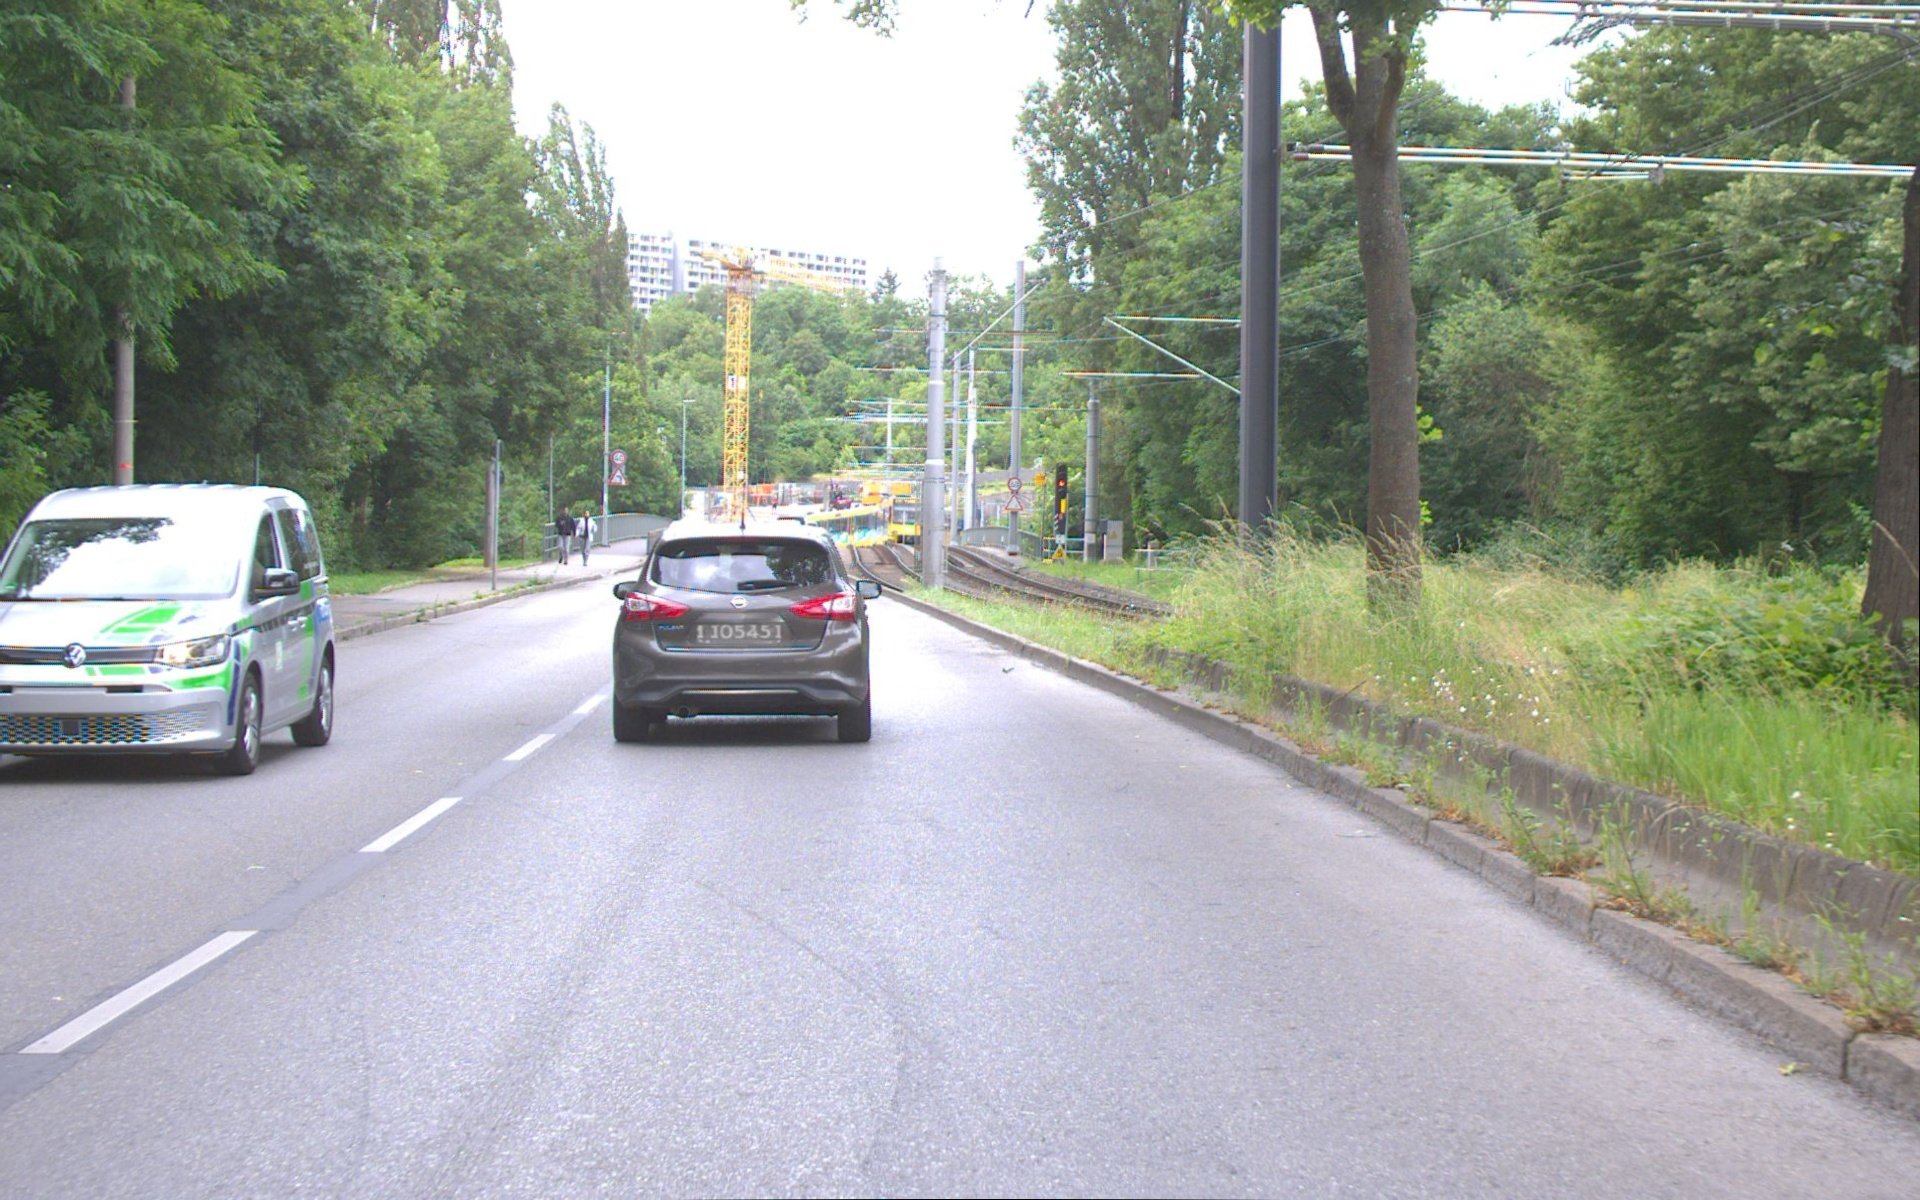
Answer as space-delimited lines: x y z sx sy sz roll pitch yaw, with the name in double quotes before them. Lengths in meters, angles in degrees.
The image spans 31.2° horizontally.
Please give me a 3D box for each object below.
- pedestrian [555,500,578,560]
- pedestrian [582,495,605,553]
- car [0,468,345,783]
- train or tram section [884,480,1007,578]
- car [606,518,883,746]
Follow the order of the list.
"pedestrian" -12.031 -2.130 105.101 0.587 1.797 0.822 2 1 -3
"pedestrian" -11.257 -2.335 105.556 0.551 1.759 0.858 4 1 -3
"car" -5.198 0.094 21.975 1.856 1.793 4.557 -1 1 -2
"train or tram section" -1.087 -4.276 214.572 3.027 5.165 23.060 2 -1 -11
"car" -1.580 0.184 24.831 1.829 1.504 4.001 0 1 -4
